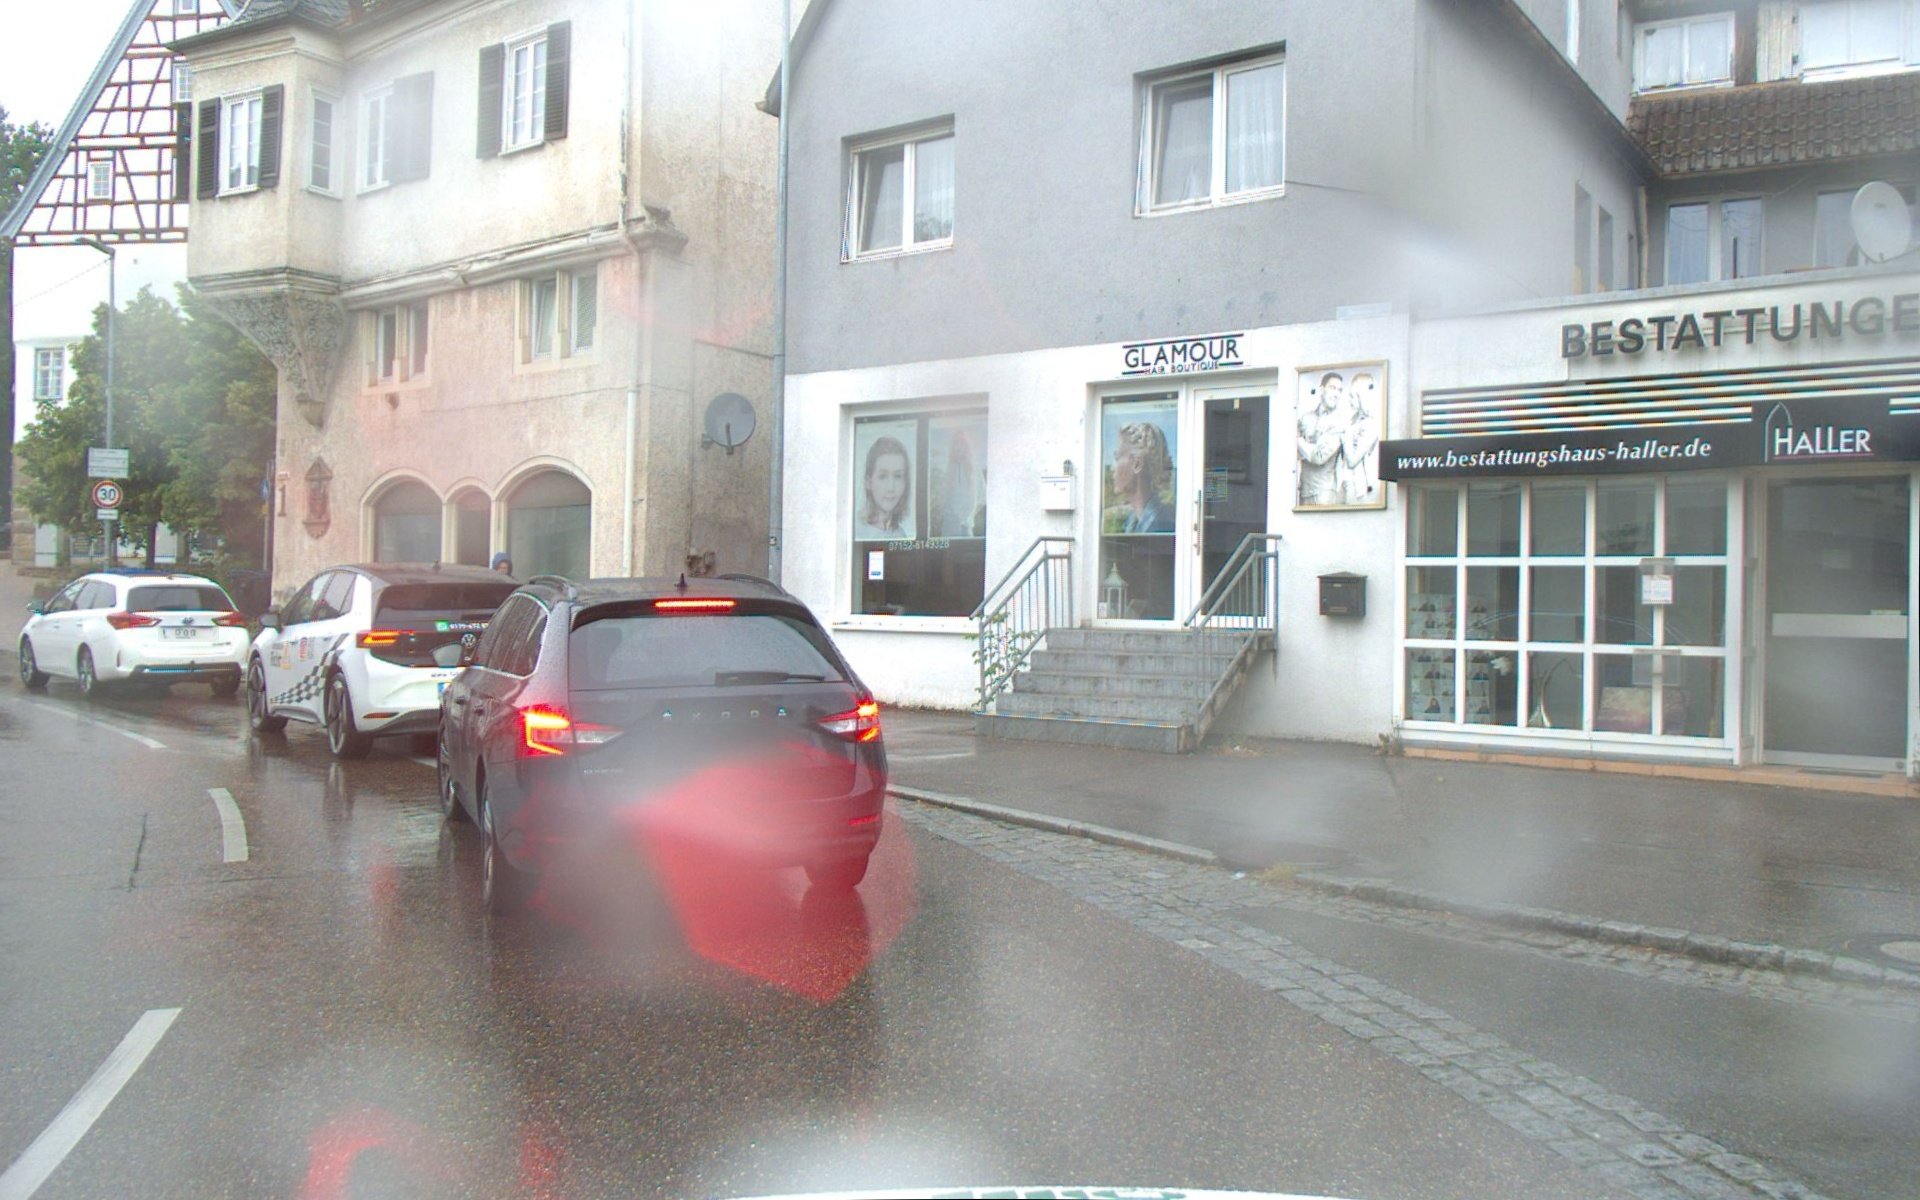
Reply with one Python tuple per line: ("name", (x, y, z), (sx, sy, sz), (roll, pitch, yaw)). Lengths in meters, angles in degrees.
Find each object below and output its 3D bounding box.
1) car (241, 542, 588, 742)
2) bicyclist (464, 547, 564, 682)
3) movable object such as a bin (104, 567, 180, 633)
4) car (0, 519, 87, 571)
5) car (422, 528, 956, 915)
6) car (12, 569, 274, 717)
("car", (-4.915, 0.286, 14.556), (1.841, 1.498, 3.951), (1, 1, -35))
("bicyclist", (-5.289, 0.153, 19.601), (1.012, 1.544, 0.681), (2, 1, 41))
("movable object such as a bin", (-16.868, -0.003, 34.109), (1.147, 1.336, 1.169), (1, 0, -40))
("car", (-36.213, -2.129, 63.690), (1.953, 1.914, 4.378), (2, 1, 22))
("car", (-1.686, 0.441, 8.675), (1.860, 1.473, 4.328), (1, 1, -22))
("car", (-10.330, 0.457, 20.765), (1.875, 1.624, 4.260), (1, 1, -42))
